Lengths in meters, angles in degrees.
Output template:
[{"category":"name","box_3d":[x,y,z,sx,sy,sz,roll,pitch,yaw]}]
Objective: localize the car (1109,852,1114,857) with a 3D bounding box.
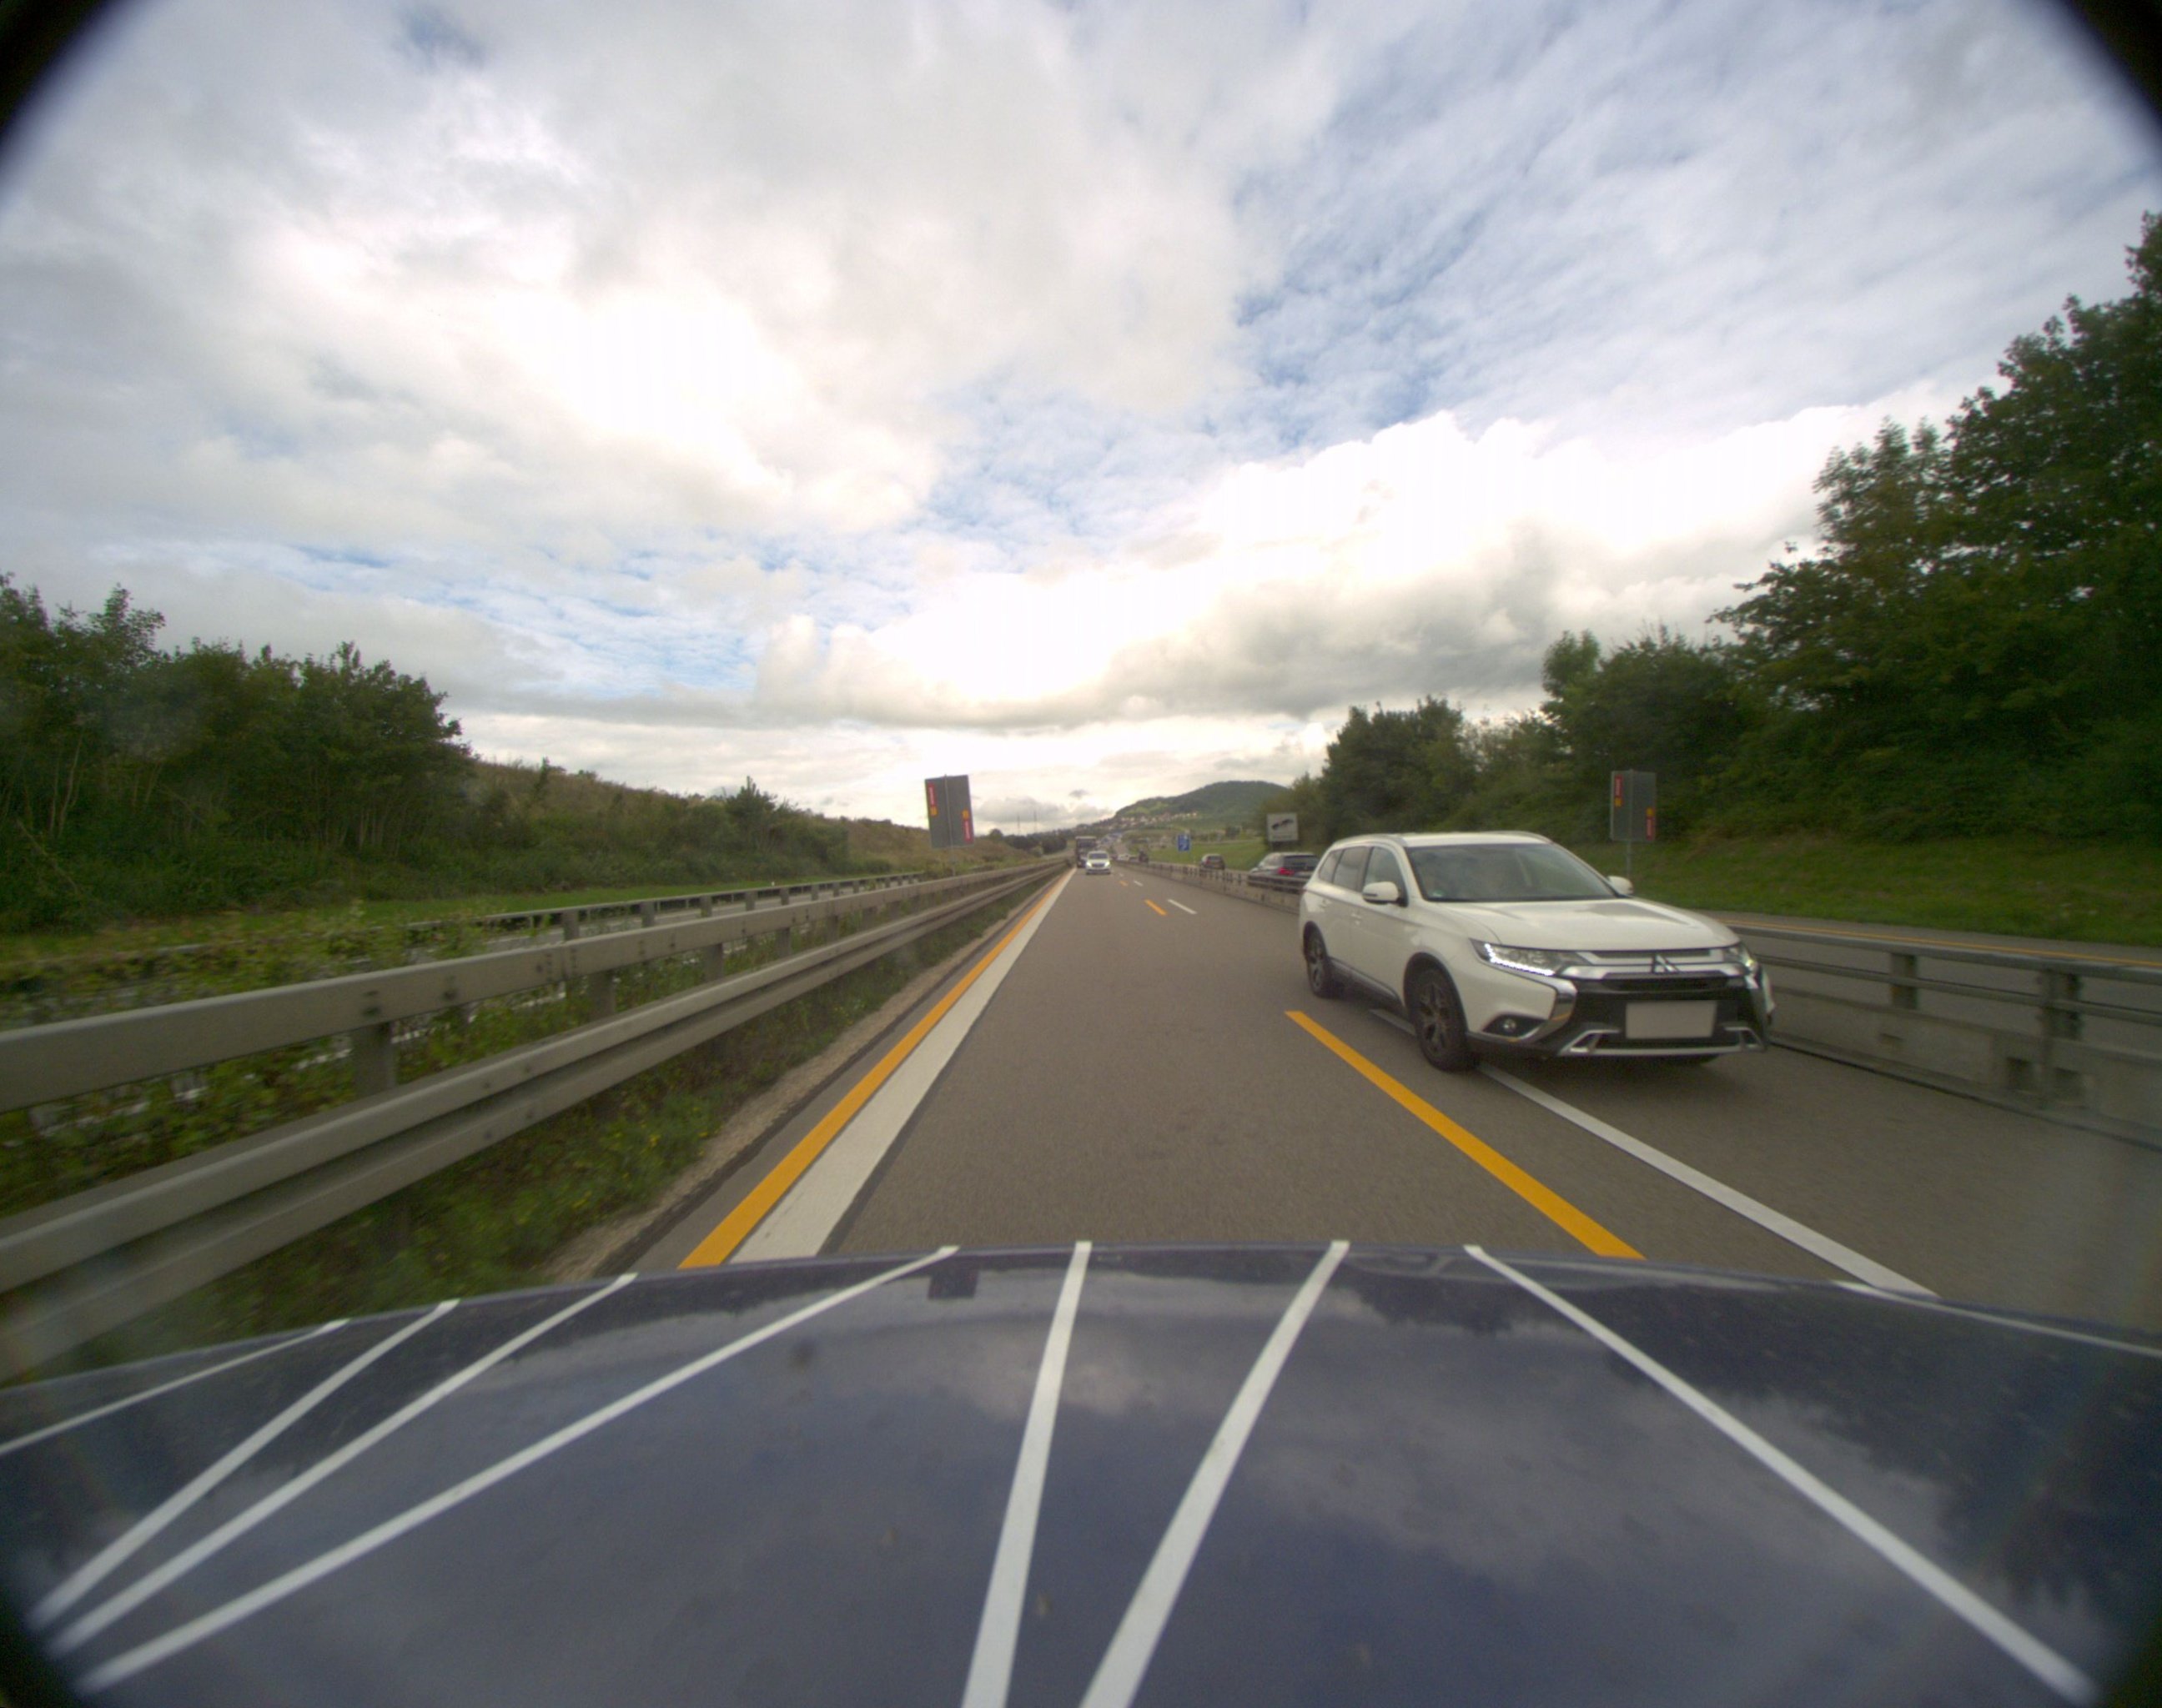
[{"category":"car","box_3d":[10.168,0.124,255.404,1.761,1.380,4.327,-2,0,2]}]

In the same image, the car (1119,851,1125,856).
[{"category":"car","box_3d":[13.369,-0.177,249.562,1.761,1.380,4.000,-2,0,2]}]

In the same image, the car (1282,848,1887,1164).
[{"category":"car","box_3d":[3.222,0.785,6.246,1.998,1.618,4.607,-1,0,1]}]

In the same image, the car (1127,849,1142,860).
[{"category":"car","box_3d":[8.175,0.078,116.022,1.998,1.512,4.953,-1,0,0]}]

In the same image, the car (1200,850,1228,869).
[{"category":"car","box_3d":[10.956,0.416,62.657,1.673,1.431,3.787,-1,0,1]}]

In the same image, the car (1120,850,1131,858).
[{"category":"car","box_3d":[8.690,-0.003,148.736,1.998,1.512,4.669,-1,0,0]}]

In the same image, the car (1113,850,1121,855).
[{"category":"car","box_3d":[9.392,-0.375,198.463,1.941,1.460,4.589,-1,0,1]}]

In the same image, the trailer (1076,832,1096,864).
[{"category":"trailer","box_3d":[0.751,-0.815,104.276,2.521,4.081,11.112,-2,1,1]}]

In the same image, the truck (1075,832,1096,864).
[{"category":"truck","box_3d":[0.655,-0.770,98.999,2.521,4.081,5.685,-2,1,1]}]

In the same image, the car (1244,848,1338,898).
[{"category":"car","box_3d":[7.076,0.578,26.113,2.003,1.490,4.901,-1,0,2]}]

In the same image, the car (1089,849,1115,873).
[{"category":"car","box_3d":[1.646,0.495,60.950,1.991,1.787,4.585,-2,1,1]}]

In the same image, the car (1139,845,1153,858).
[{"category":"car","box_3d":[11.664,-0.422,136.727,1.999,2.239,5.049,-2,0,-1]}]
